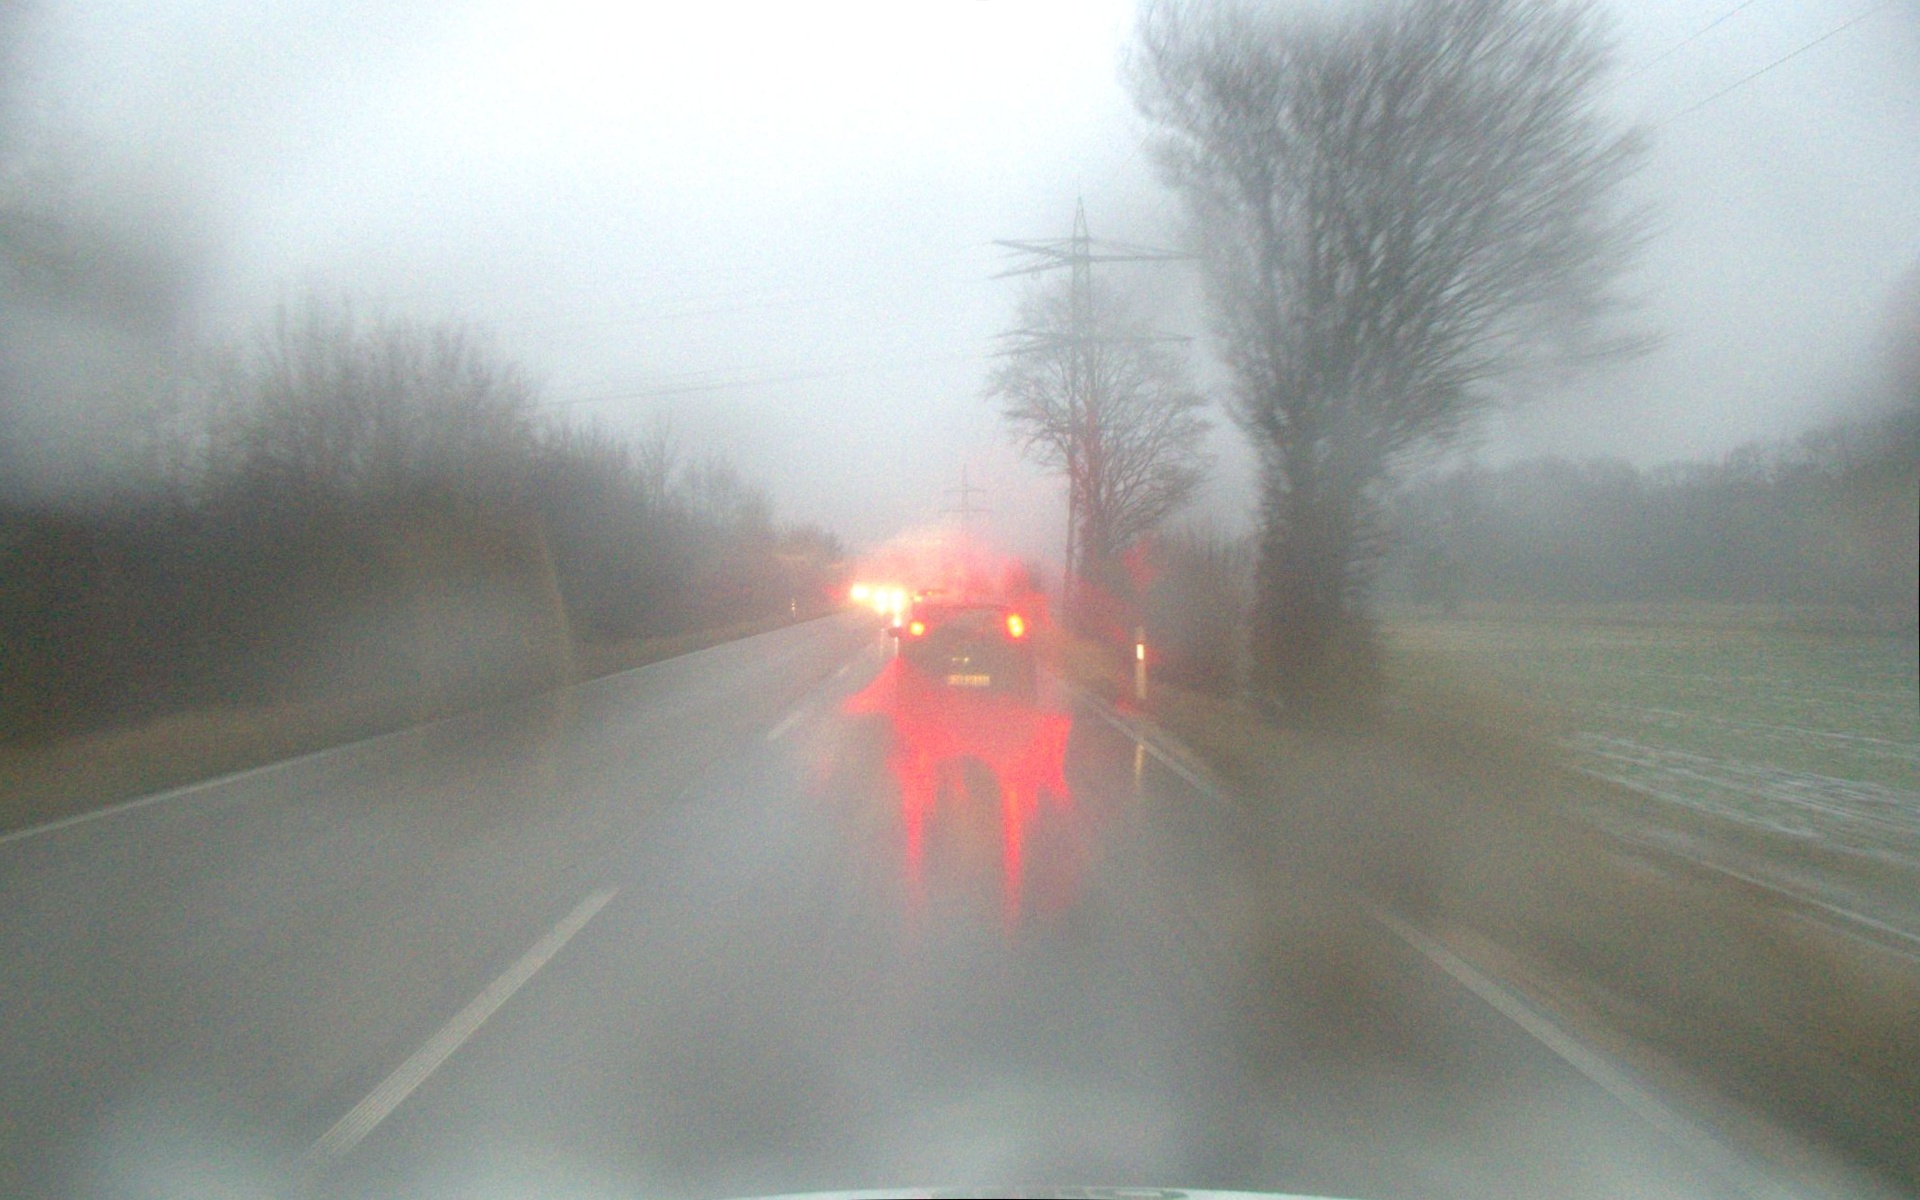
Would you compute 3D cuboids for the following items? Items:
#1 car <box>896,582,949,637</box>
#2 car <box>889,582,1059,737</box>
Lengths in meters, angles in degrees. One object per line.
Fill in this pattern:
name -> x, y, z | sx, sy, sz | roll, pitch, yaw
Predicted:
car -> -1.440, 0.363, 64.008 | 1.953, 2.049, 3.999 | -1, 0, -1
car -> 0.124, 0.686, 21.088 | 1.953, 1.783, 3.999 | 0, 0, -1
